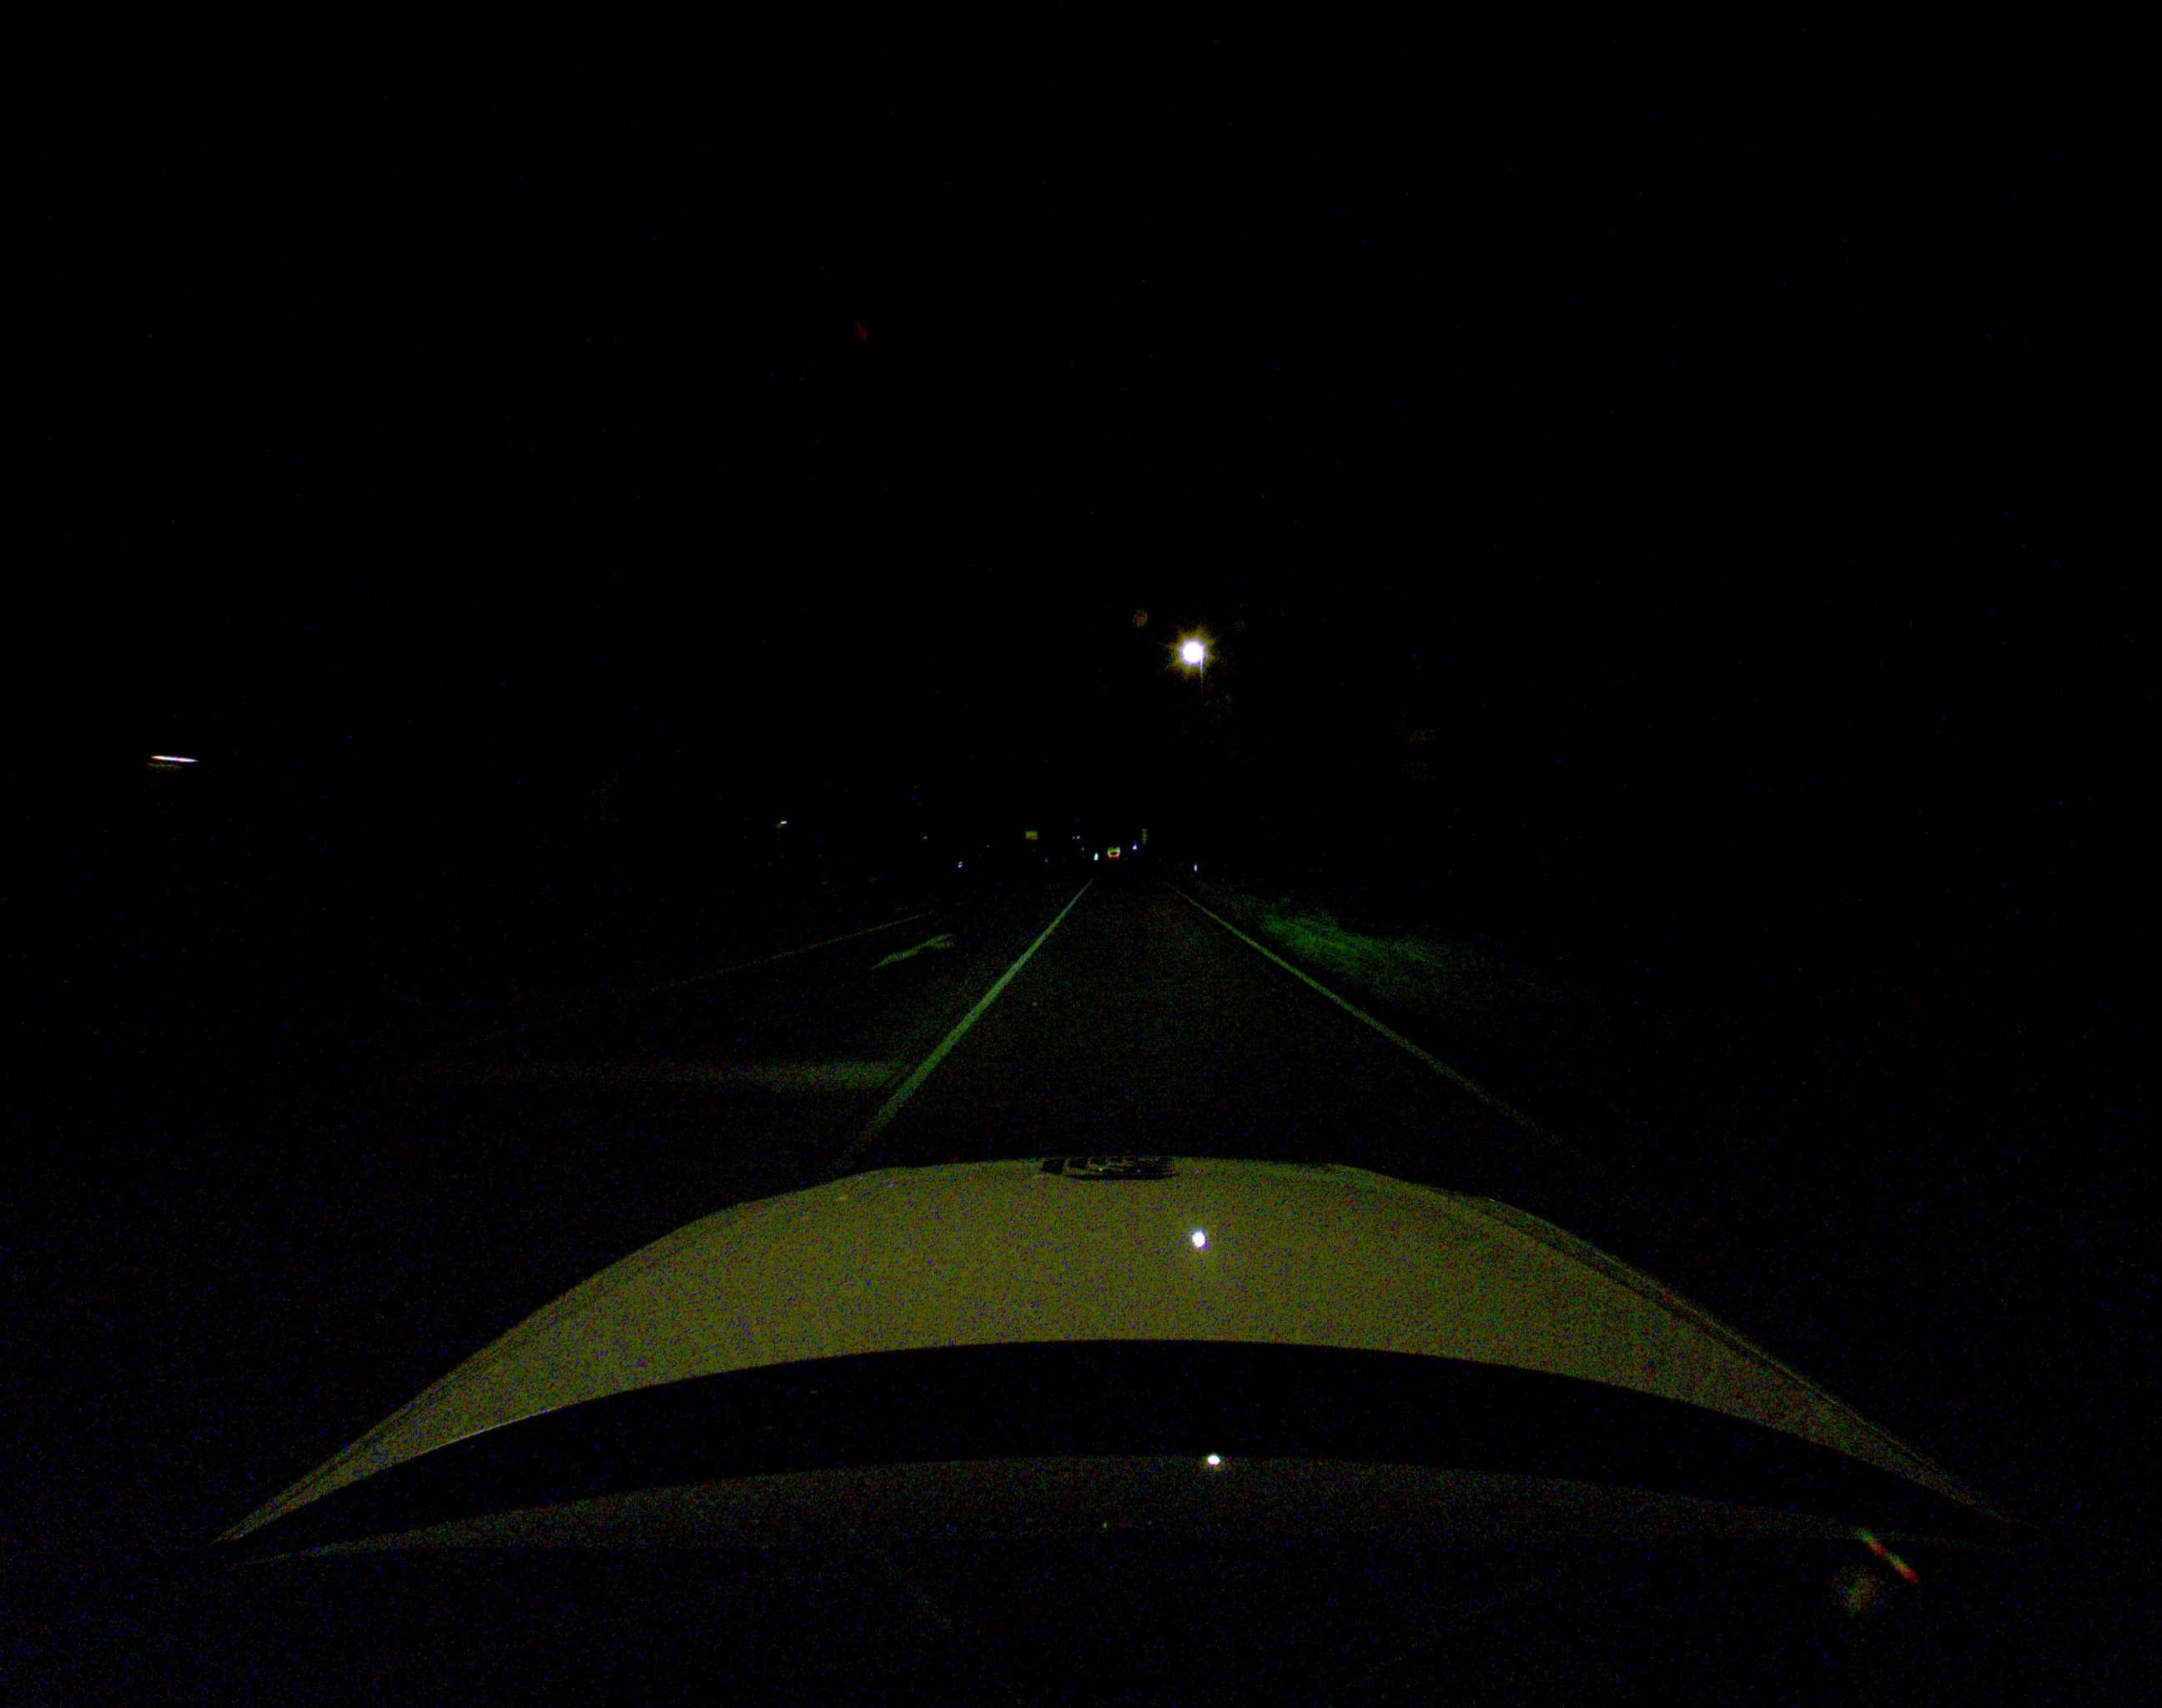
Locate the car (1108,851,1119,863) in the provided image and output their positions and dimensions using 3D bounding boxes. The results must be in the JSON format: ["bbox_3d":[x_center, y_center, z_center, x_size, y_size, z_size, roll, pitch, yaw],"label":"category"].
[{"bbox_3d":[6.282,0.637,156.379,1.986,2.014,4.000,1,-3,2],"label":"car"}]
